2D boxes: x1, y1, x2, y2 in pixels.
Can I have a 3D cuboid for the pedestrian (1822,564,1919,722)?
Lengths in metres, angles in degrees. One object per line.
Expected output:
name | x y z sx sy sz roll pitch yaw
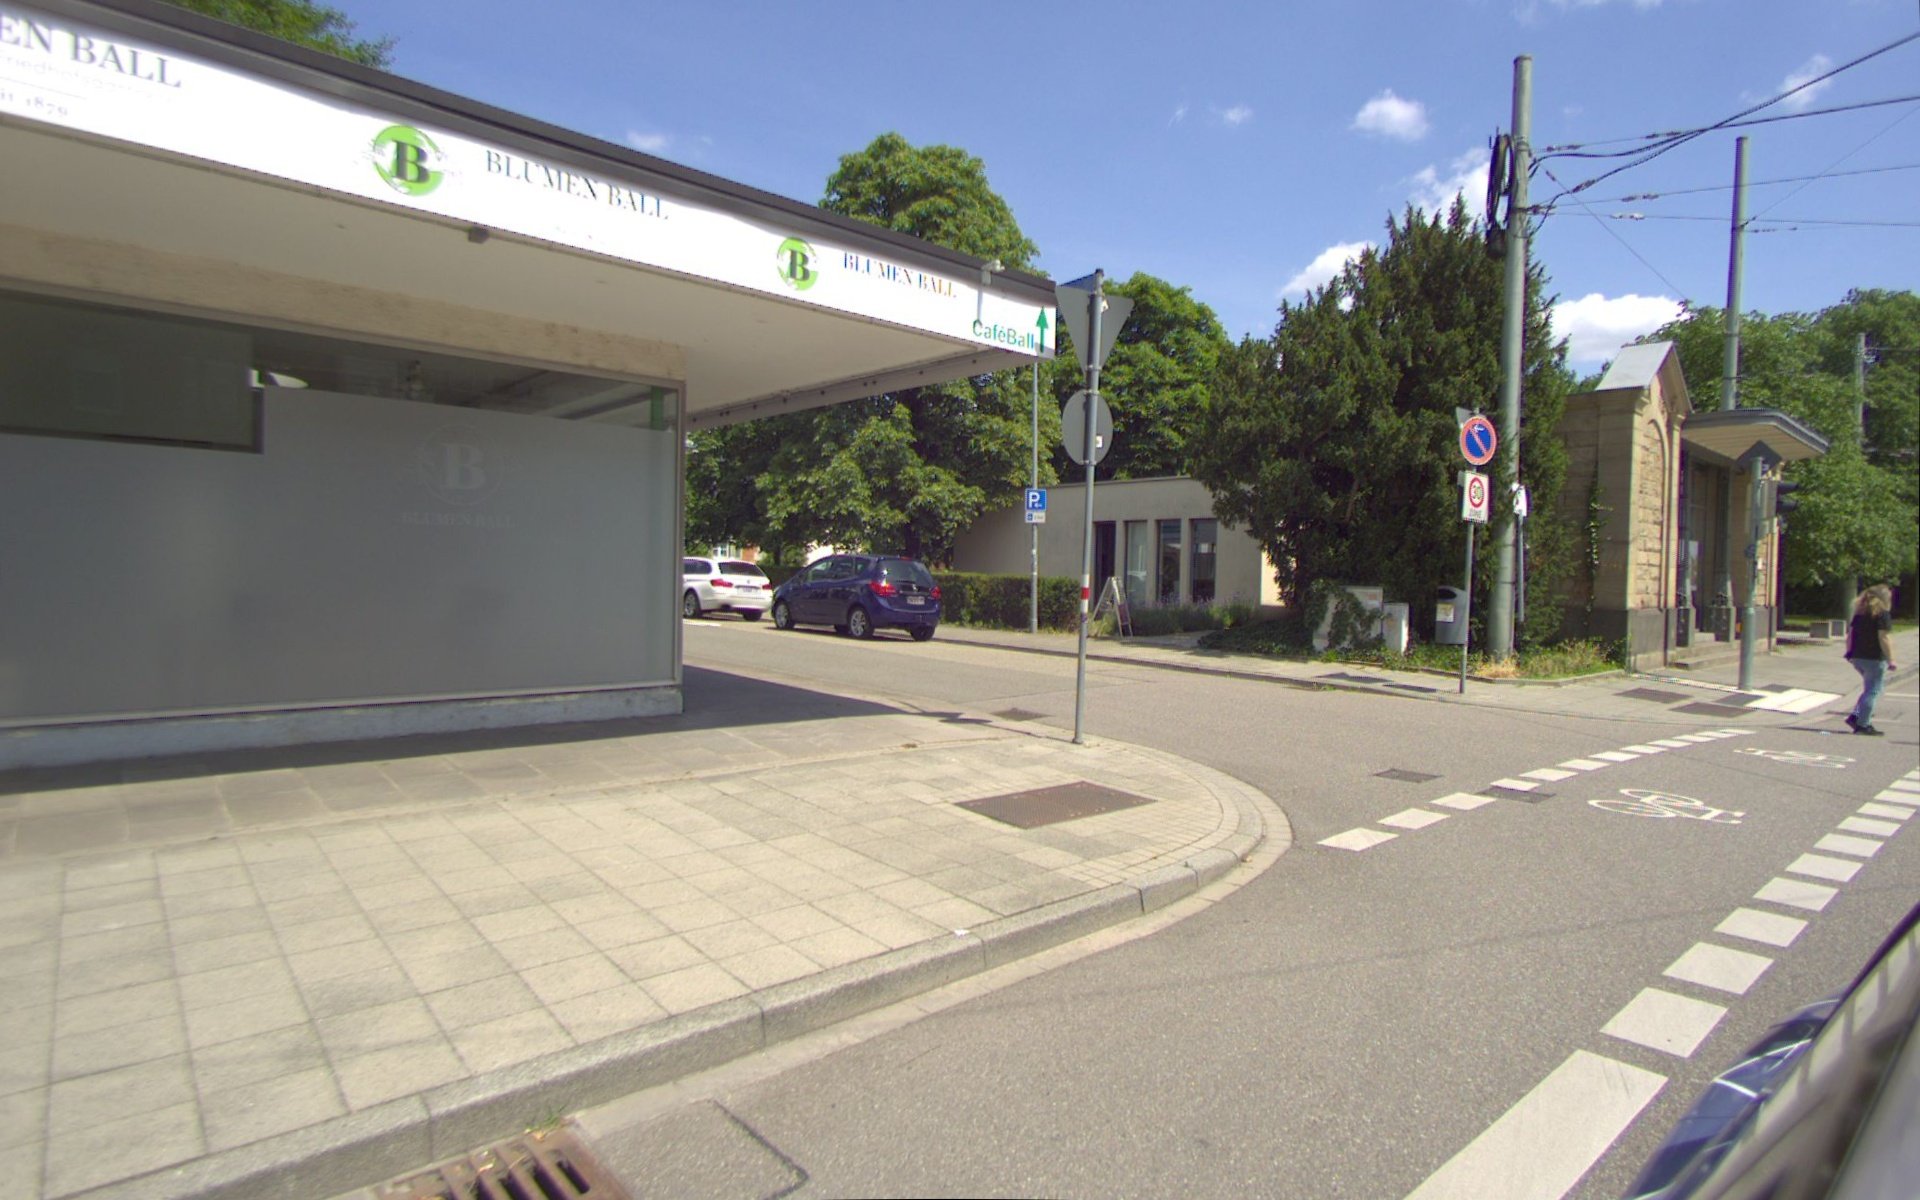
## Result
pedestrian | 9.653 0.428 10.707 0.771 1.574 0.579 -1 4 -38

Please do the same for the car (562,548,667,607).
car | -9.894 -0.688 28.824 1.593 1.424 3.808 -1 5 -40

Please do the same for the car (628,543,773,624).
car | -6.414 -0.464 24.689 1.786 1.652 4.214 -1 5 -40

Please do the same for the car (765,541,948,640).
car | -2.115 -0.268 19.871 1.646 1.721 3.800 -1 4 -42
